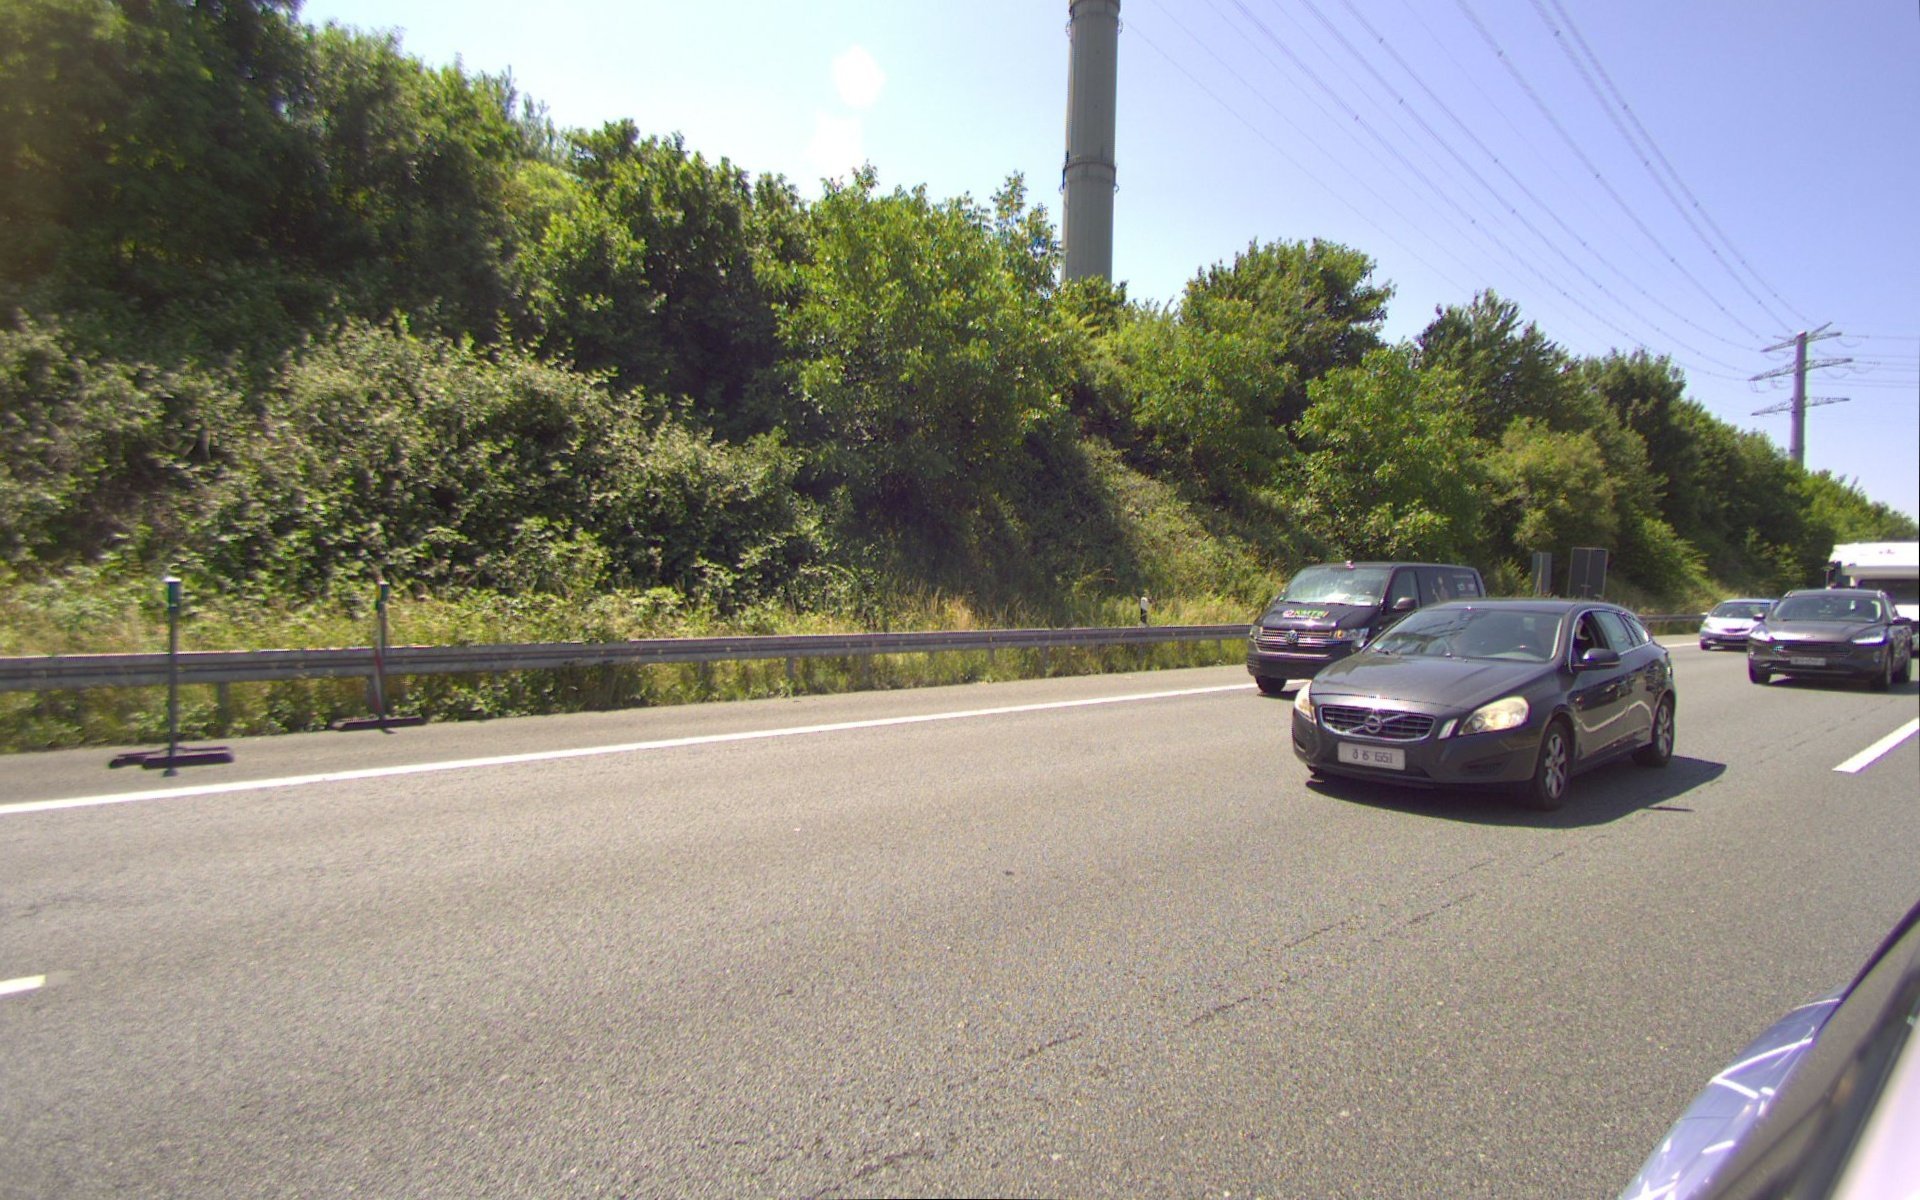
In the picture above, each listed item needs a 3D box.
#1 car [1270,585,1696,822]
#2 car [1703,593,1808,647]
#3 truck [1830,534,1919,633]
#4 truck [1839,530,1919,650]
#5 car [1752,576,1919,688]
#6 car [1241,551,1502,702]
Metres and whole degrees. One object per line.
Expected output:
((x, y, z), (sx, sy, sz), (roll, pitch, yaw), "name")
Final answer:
((4.447, 0.617, 8.313), (4.159, 1.455, 1.798), (0, 1, -42), "car")
((22.853, 0.521, 29.025), (3.668, 1.455, 1.798), (0, 0, -42), "car")
((43.840, -0.749, 47.678), (11.457, 4.204, 2.653), (0, 0, -41), "truck")
((27.954, -0.279, 29.152), (9.722, 3.053, 2.513), (0, 0, -40), "truck")
((15.565, 0.474, 17.811), (4.309, 1.724, 1.890), (0, 0, -42), "car")
((6.283, 0.323, 15.183), (4.617, 1.928, 1.787), (0, 0, -42), "car")
